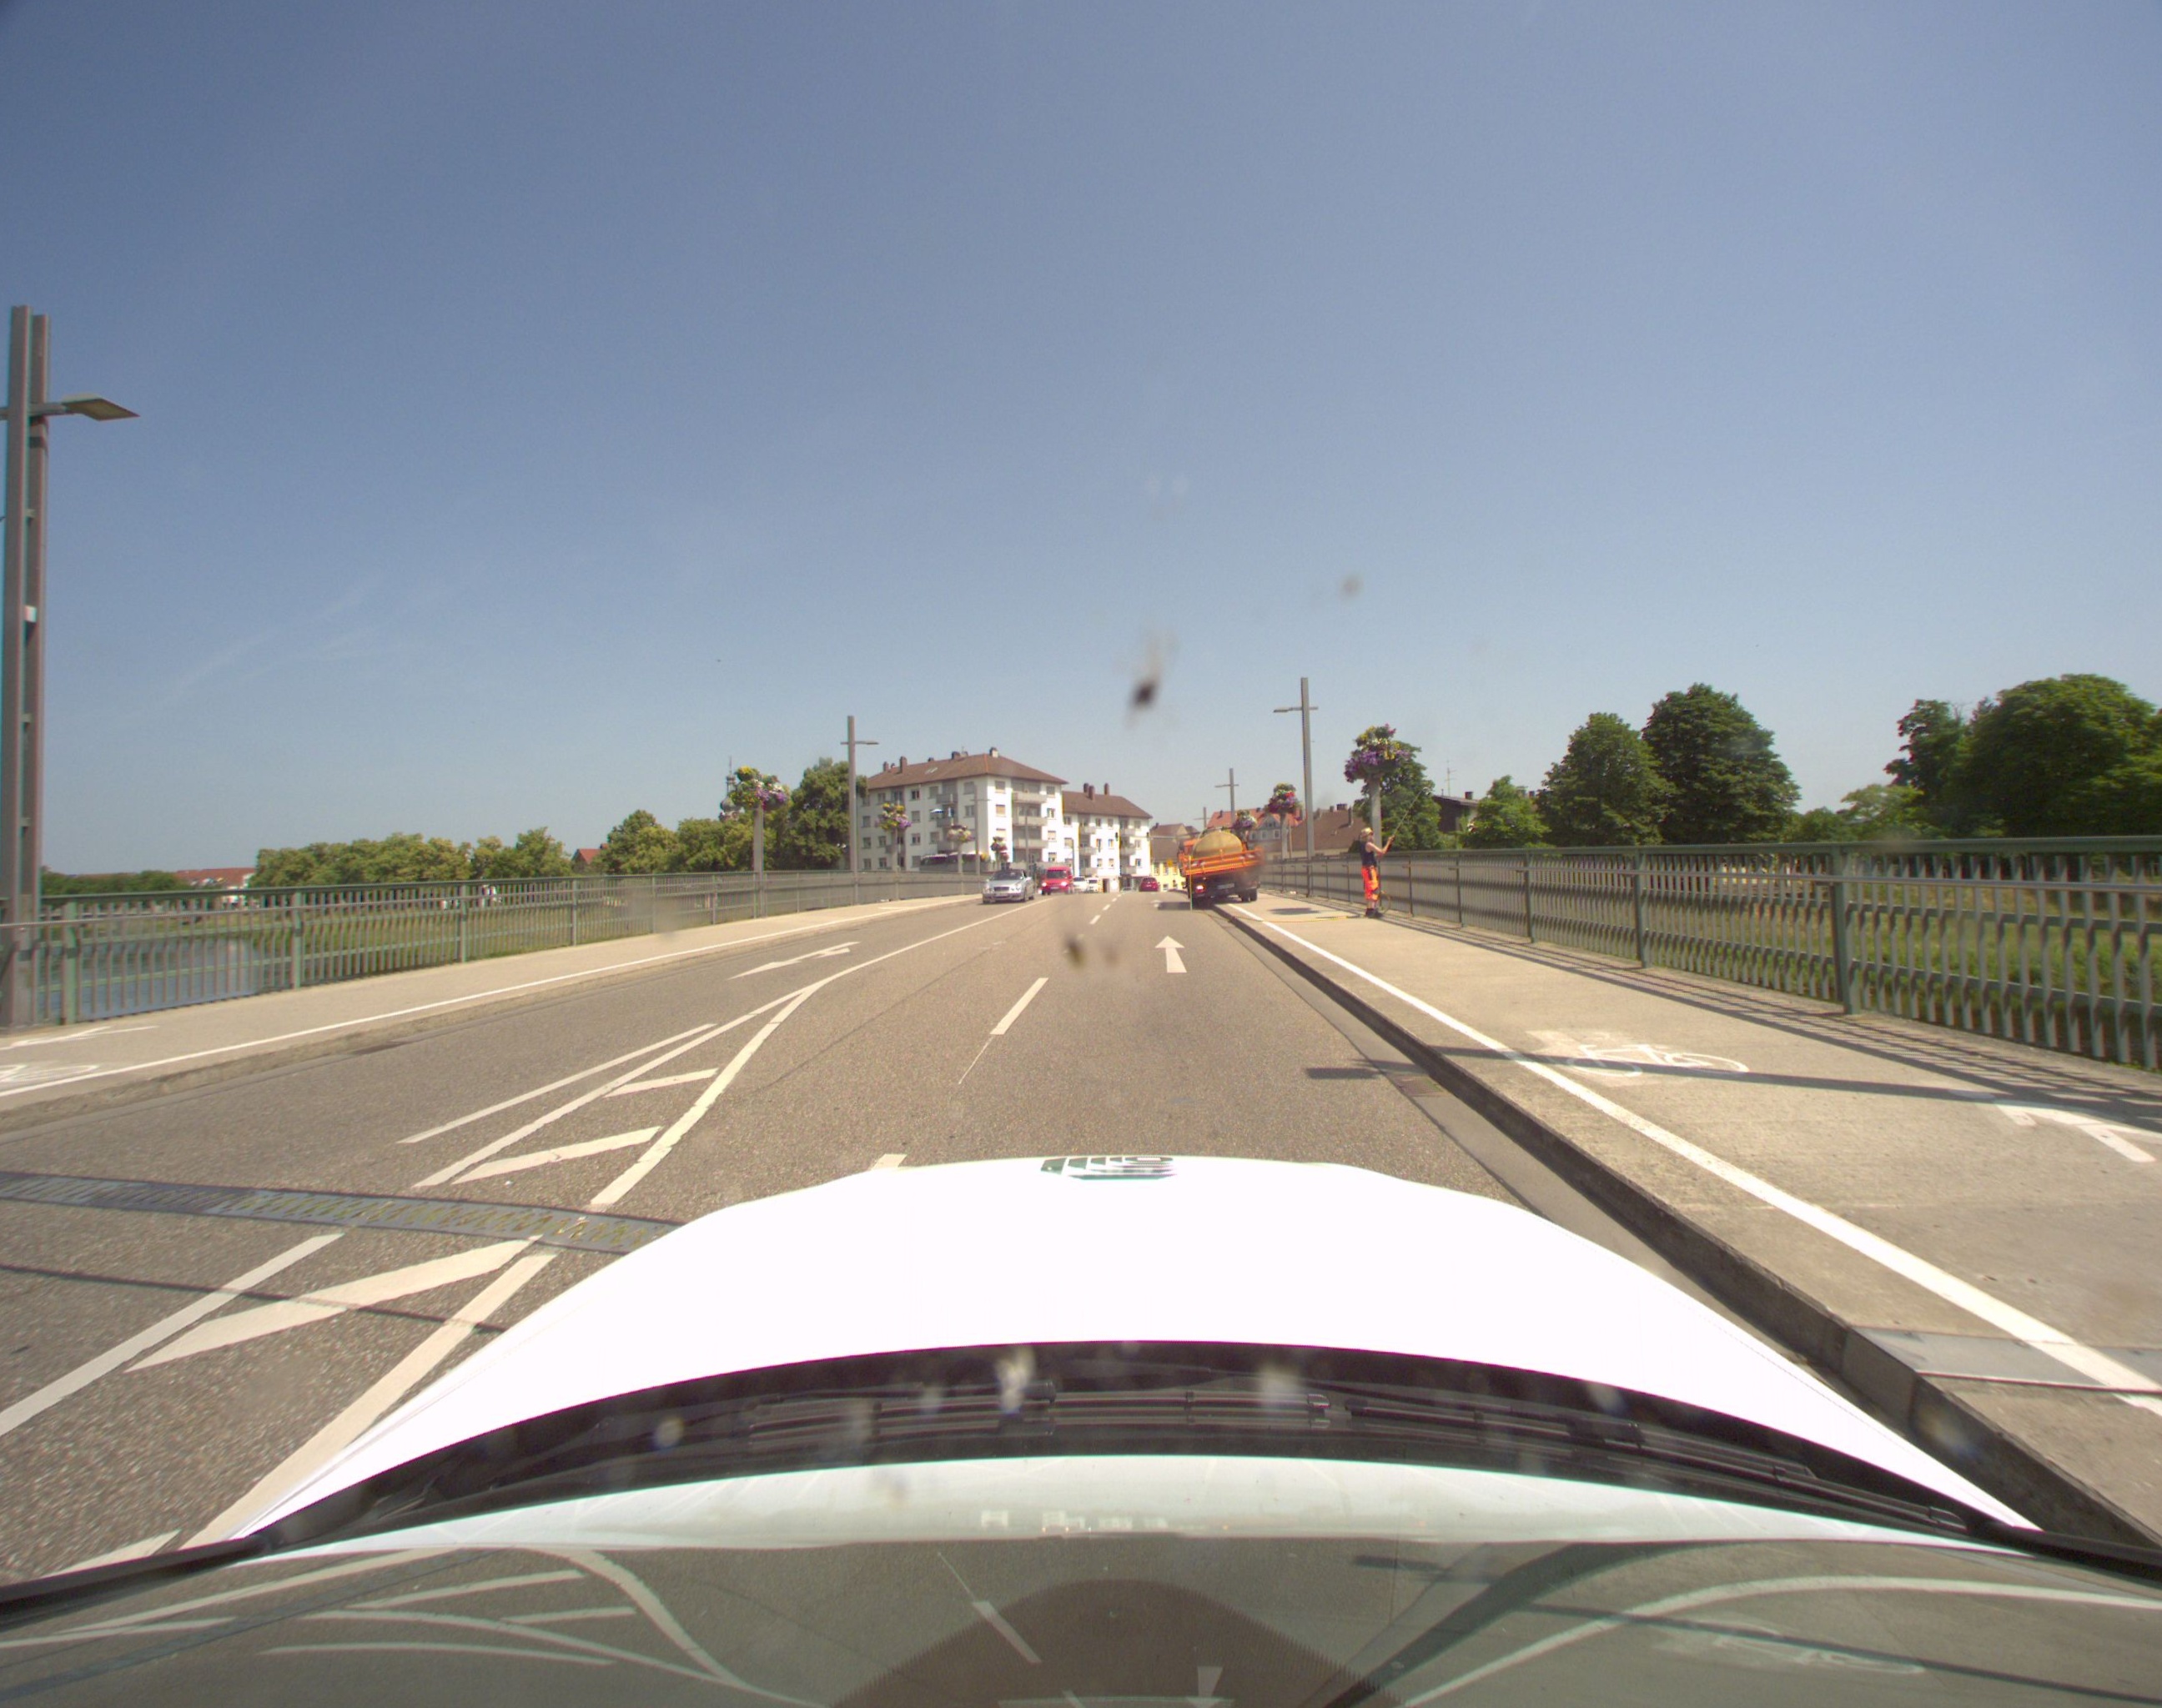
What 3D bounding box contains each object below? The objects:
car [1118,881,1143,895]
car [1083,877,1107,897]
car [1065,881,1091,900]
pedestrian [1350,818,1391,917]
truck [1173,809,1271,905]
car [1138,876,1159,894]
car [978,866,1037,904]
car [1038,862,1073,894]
[{"bbox_3d":[6.325,4.322,103.744,1.744,1.519,4.022,-5,-2,23],"label":"car"},{"bbox_3d":[1.477,3.400,84.705,1.748,1.857,4.660,0,0,11],"label":"car"},{"bbox_3d":[-0.177,2.942,66.217,1.837,1.432,4.716,-2,-2,2],"label":"car"},{"bbox_3d":[5.885,0.284,16.567,0.665,1.960,0.550,-2,-2,15],"label":"pedestrian"},{"bbox_3d":[4.438,0.130,26.670,2.593,2.691,5.830,-2,-1,5],"label":"truck"},{"bbox_3d":[6.896,3.152,83.461,1.982,1.613,4.345,-3,-1,3],"label":"car"},{"bbox_3d":[-2.979,1.255,33.890,1.691,1.358,4.461,-3,-1,4],"label":"car"},{"bbox_3d":[-1.490,1.429,48.909,1.729,1.777,4.178,-2,-2,2],"label":"car"}]
